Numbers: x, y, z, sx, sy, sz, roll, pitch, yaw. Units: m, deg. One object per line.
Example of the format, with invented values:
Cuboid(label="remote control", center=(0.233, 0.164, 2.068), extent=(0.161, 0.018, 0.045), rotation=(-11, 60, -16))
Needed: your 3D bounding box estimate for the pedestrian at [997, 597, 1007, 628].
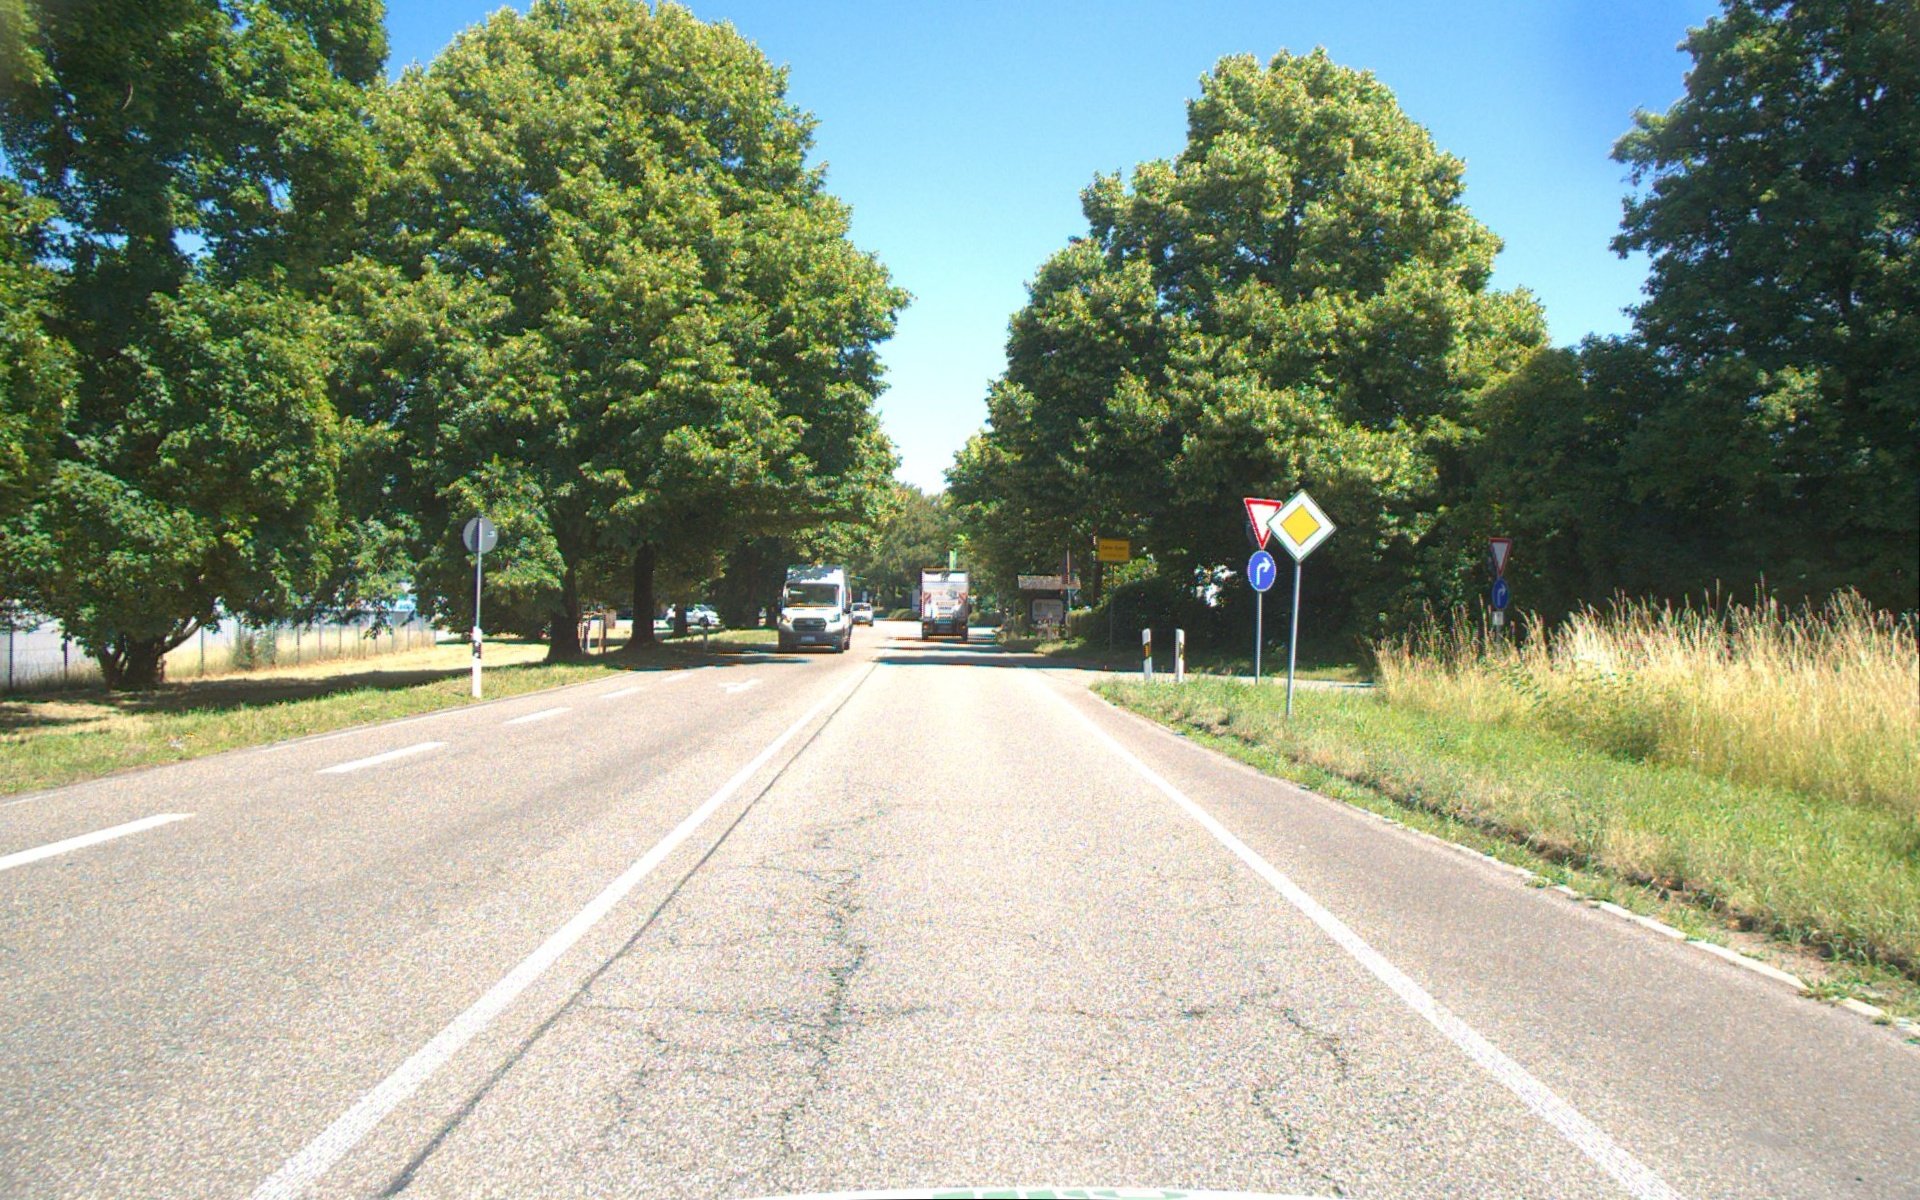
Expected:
Cuboid(label="pedestrian", center=(2.398, 0.723, 94.560), extent=(0.536, 1.807, 0.577), rotation=(0, -1, 4))

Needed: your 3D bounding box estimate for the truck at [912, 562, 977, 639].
Cuboid(label="truck", center=(-0.637, -0.003, 72.105), extent=(2.480, 3.190, 5.363), rotation=(0, 0, 3))

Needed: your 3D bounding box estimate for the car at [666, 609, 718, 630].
Cuboid(label="car", center=(-18.010, 1.292, 111.118), extent=(3.357, 1.386, 1.333), rotation=(0, -1, 28))

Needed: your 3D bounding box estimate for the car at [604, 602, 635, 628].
Cuboid(label="car", center=(-22.172, 0.972, 107.534), extent=(1.708, 1.613, 3.983), rotation=(0, 0, -15))

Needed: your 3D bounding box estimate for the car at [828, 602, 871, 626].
Cuboid(label="car", center=(-8.829, 1.132, 131.887), extent=(1.965, 1.889, 5.281), rotation=(0, -1, -21))

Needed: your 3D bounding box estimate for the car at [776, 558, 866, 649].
Cuboid(label="car", center=(-4.296, 0.134, 52.211), extent=(2.030, 2.673, 6.785), rotation=(0, 0, 2))
